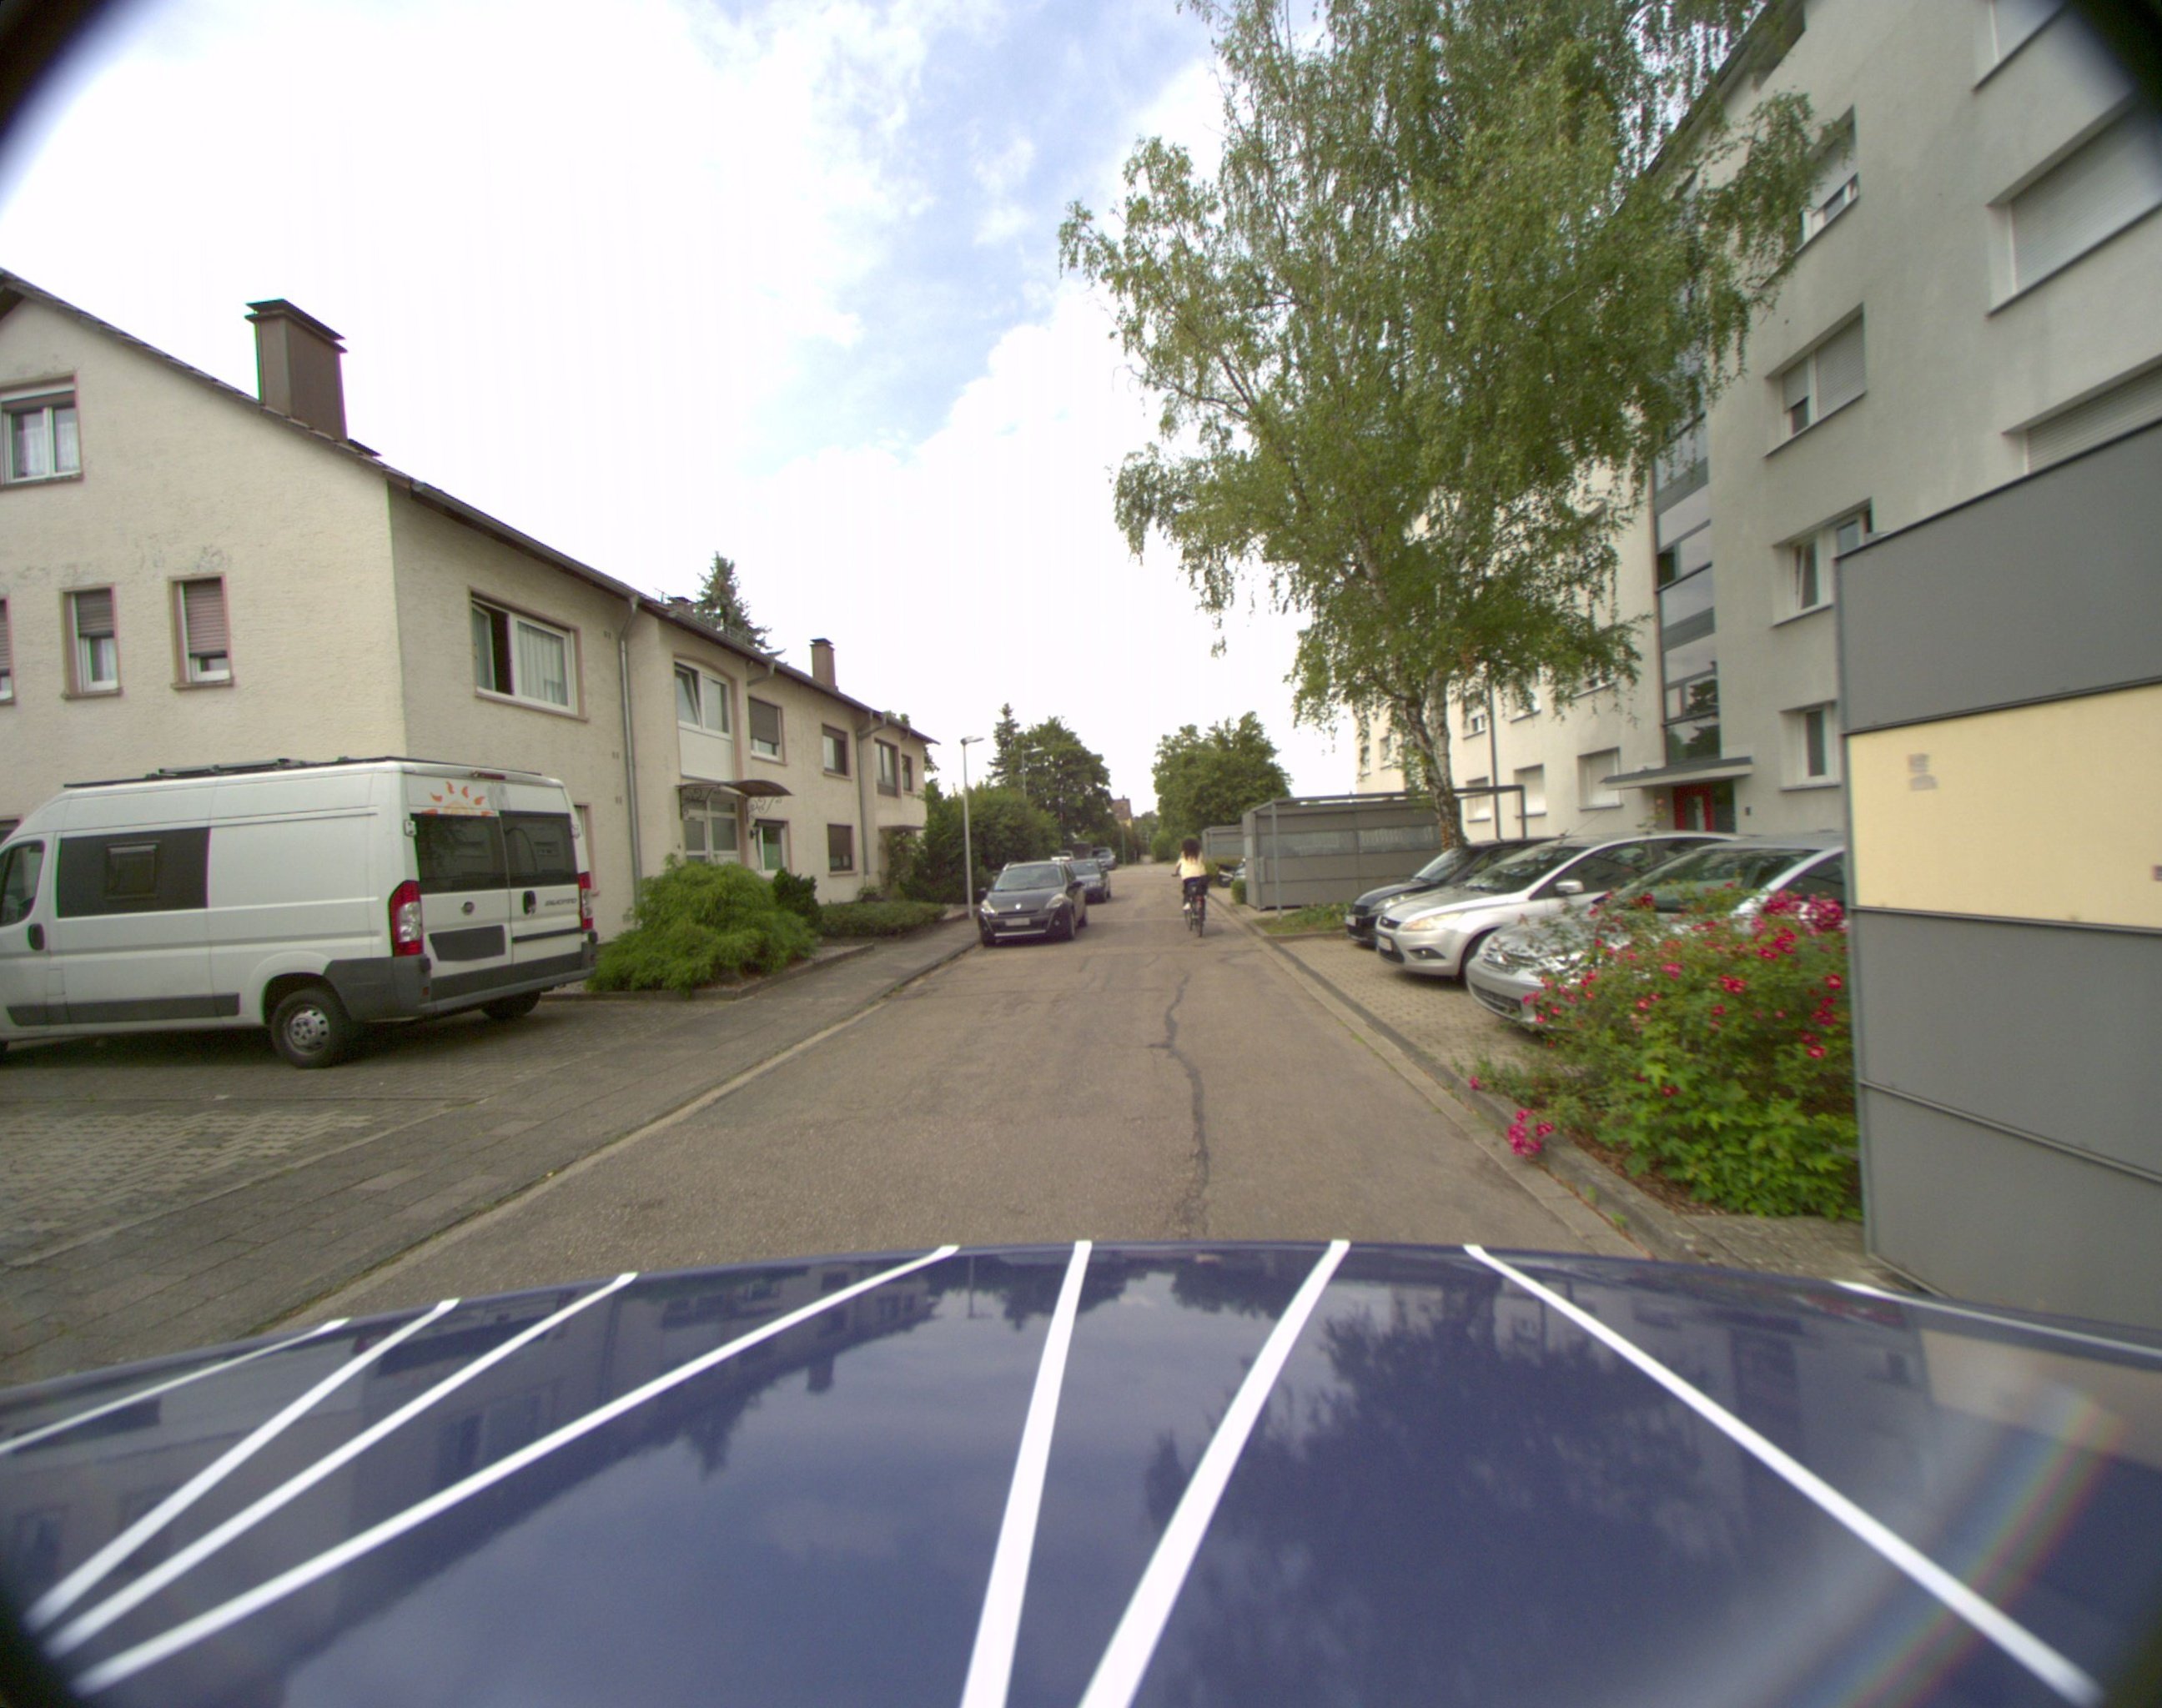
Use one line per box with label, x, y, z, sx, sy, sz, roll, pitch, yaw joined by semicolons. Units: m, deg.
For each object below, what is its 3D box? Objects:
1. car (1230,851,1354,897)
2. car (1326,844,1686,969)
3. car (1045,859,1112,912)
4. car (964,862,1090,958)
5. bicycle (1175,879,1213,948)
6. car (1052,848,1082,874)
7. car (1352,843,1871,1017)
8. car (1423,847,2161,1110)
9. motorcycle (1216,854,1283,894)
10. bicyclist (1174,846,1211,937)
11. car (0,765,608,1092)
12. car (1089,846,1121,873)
car;7.344;0.687;26.816;3.995;1.477;1.903;-1;1;7
car;5.775;0.692;10.772;4.060;1.496;1.782;-2;1;5
car;-0.006;0.974;25.093;1.833;1.449;4.191;-4;0;4
car;-0.887;0.976;14.980;1.833;1.449;4.191;-4;0;4
bicycle;2.024;1.030;13.748;0.598;1.070;2.043;-1;1;7
car;-0.906;0.447;51.408;1.704;1.458;3.999;-3;2;3
car;5.170;0.719;7.921;4.060;1.496;1.782;-2;1;5
car;4.847;0.759;5.353;4.060;1.455;1.782;-2;1;5
motorcycle;6.360;0.753;28.736;2.382;1.455;0.714;-1;1;5
bicyclist;1.996;0.646;13.607;0.598;1.572;0.767;-1;1;7
car;-7.744;0.644;7.250;5.098;2.527;2.238;-2;1;6
car;1.617;0.363;50.555;1.925;1.576;4.001;-5;0;3
